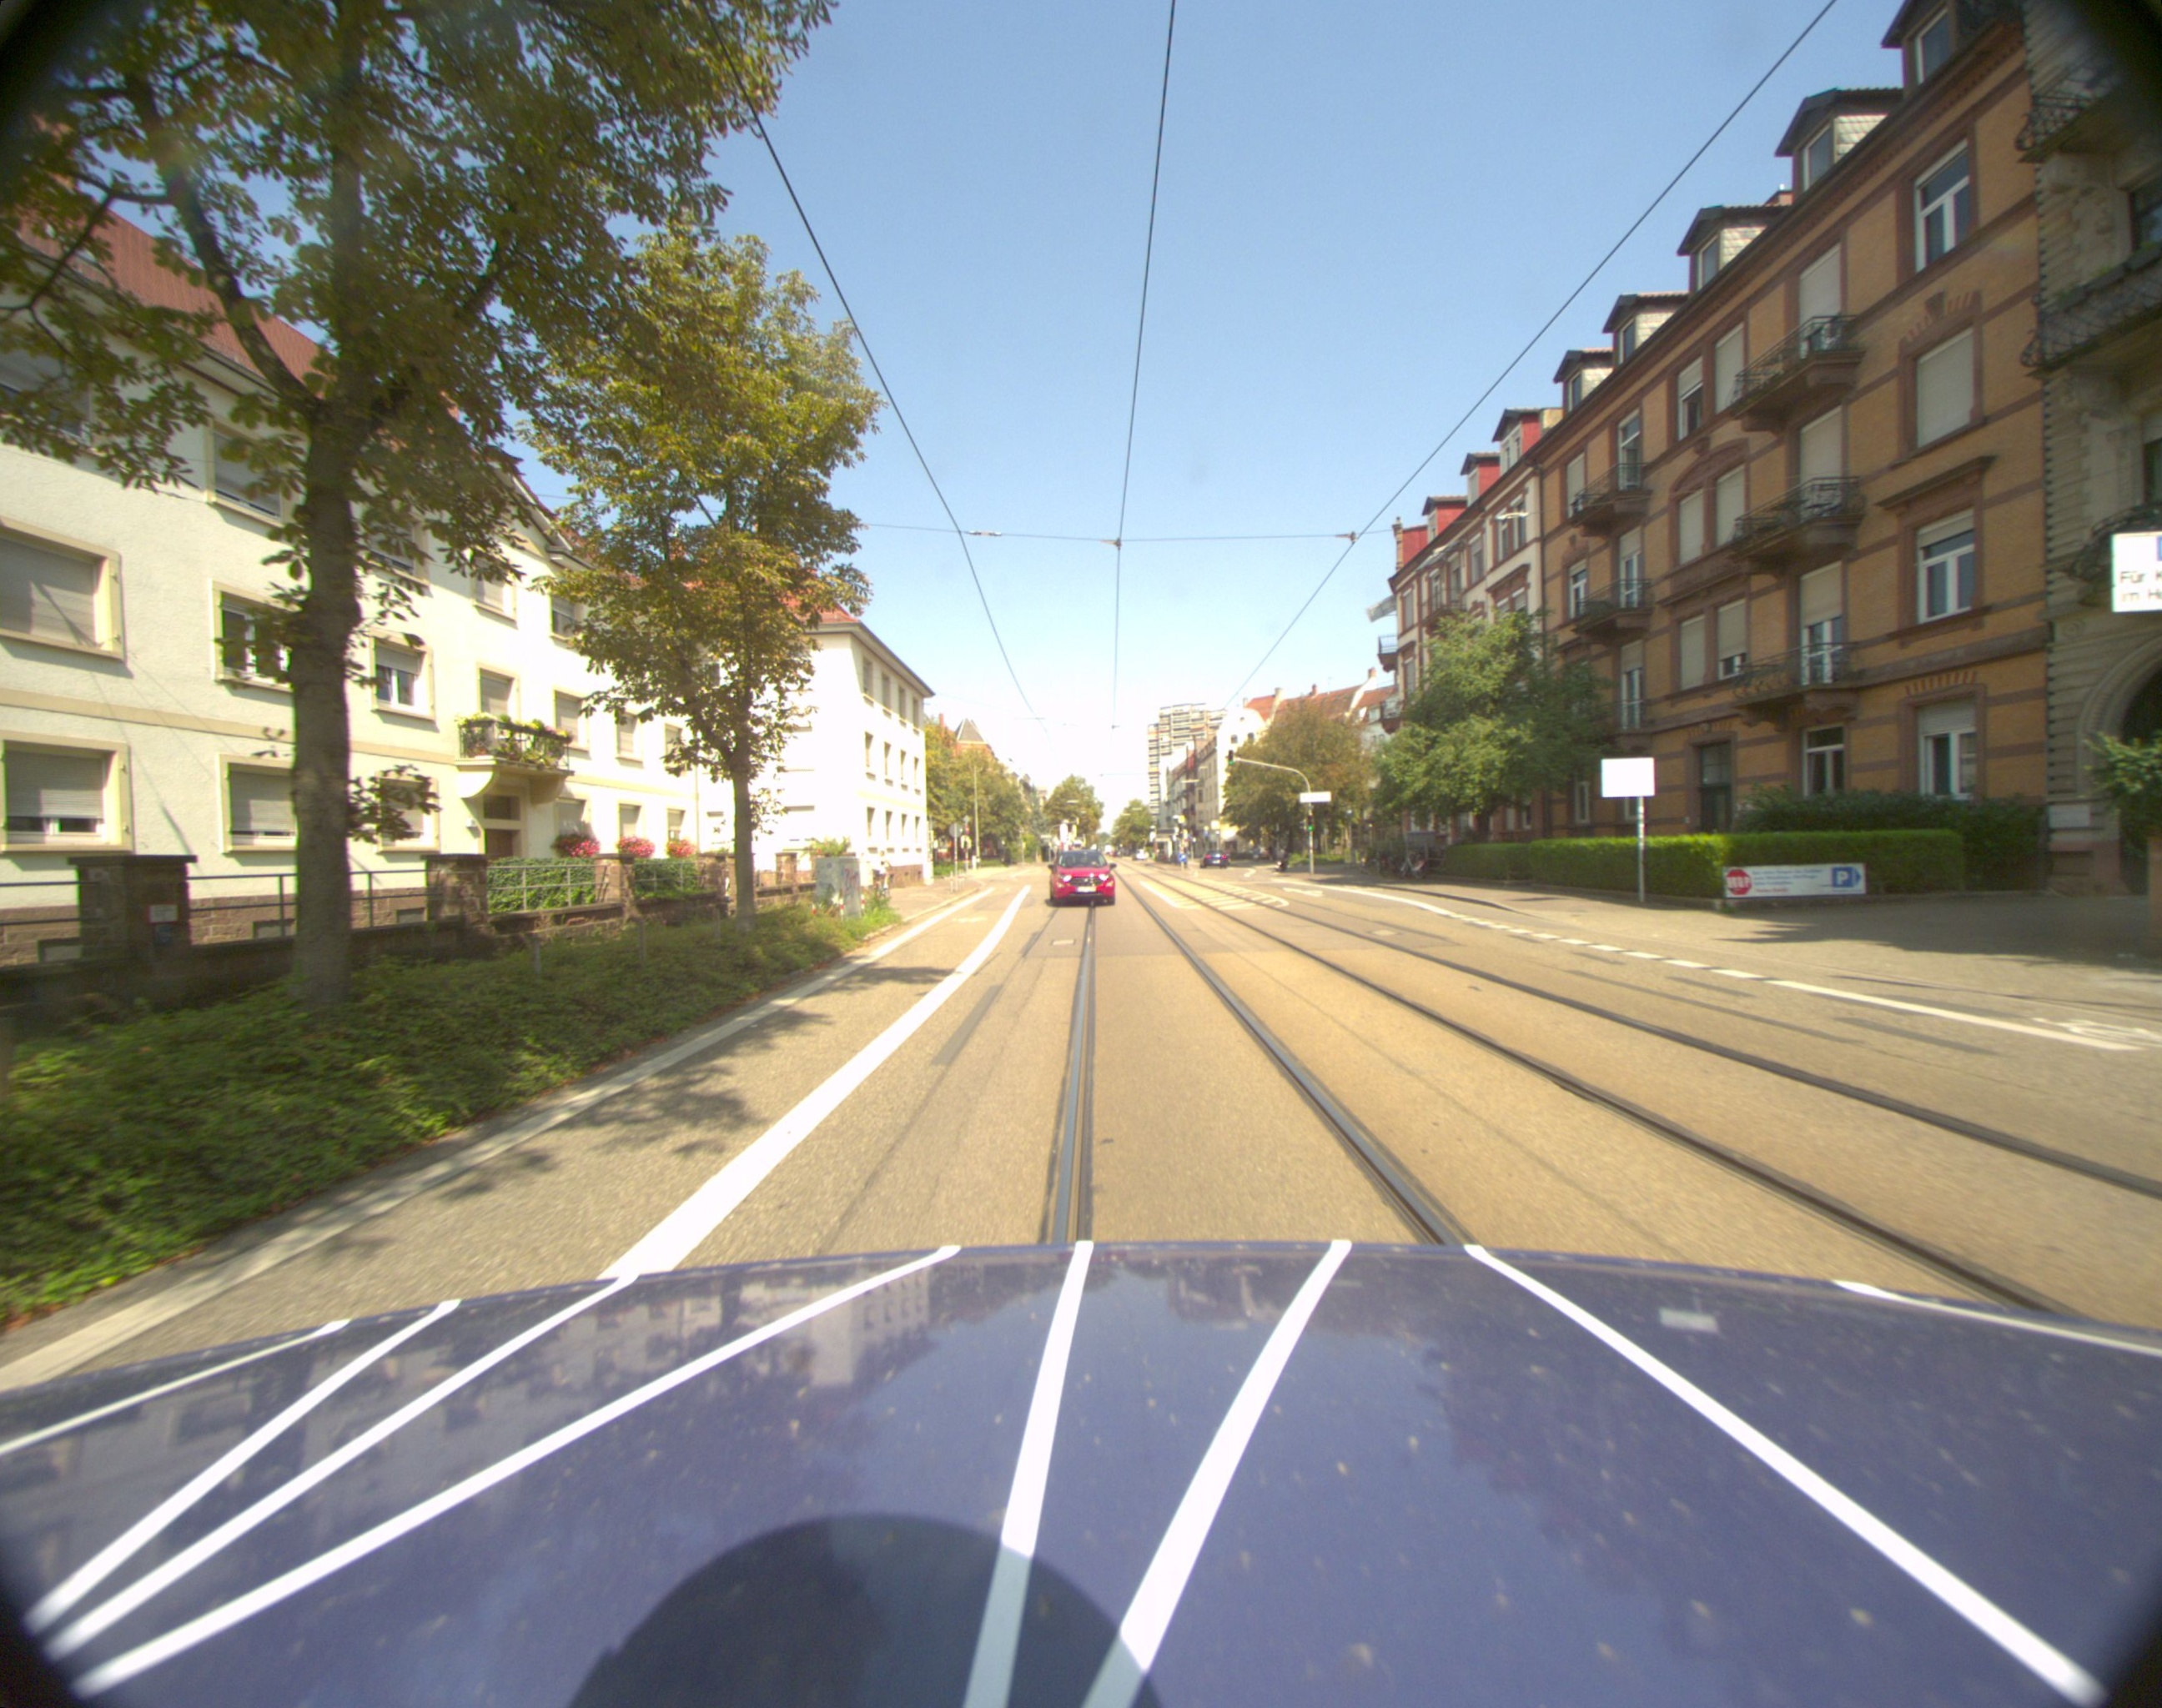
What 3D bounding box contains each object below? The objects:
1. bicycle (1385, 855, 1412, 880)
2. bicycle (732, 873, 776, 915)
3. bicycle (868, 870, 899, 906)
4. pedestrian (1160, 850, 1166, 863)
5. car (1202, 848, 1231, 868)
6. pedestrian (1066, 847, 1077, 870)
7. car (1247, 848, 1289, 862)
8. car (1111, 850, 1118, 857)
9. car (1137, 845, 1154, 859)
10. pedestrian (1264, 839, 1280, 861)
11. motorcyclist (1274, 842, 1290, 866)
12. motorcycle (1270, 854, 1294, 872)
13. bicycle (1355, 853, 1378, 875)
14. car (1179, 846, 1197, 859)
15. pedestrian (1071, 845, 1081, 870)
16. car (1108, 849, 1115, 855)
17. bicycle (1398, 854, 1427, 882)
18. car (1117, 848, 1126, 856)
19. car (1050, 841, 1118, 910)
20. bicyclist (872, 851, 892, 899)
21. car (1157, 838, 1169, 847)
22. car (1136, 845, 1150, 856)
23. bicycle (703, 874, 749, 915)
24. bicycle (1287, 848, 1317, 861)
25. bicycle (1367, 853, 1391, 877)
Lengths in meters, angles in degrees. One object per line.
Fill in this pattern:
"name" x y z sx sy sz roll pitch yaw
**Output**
"bicycle" 12.796 0.539 30.619 0.488 0.936 1.657 -2 0 4
"bicycle" -9.058 1.086 21.102 0.441 1.041 1.828 -2 1 -2
"bicycle" -6.369 1.087 24.564 0.441 1.041 1.829 -2 1 1
"pedestrian" 7.949 0.198 73.566 0.479 1.243 0.648 -2 1 2
"car" 10.366 0.297 58.456 1.731 1.425 4.177 -2 1 4
"pedestrian" -0.754 0.385 63.096 0.674 1.874 0.923 -2 1 12
"car" 22.938 0.144 93.088 2.004 1.716 4.617 -1 1 -45
"car" 9.005 -0.141 204.595 1.998 1.716 4.631 -1 0 2
"car" 8.263 -0.226 97.437 1.998 1.716 4.631 -1 0 2
"pedestrian" 17.824 -0.355 70.914 1.094 2.002 1.036 -3 1 1
"motorcyclist" 12.489 -0.006 47.133 0.690 1.503 0.774 -1 1 36
"motorcycle" 12.494 0.566 47.120 0.692 1.025 2.161 -1 1 36
"bicycle" 14.122 0.482 37.545 0.487 0.991 1.833 -1 1 39
"car" 14.744 -0.180 104.900 1.998 1.716 4.631 -1 0 2
"pedestrian" -0.383 0.270 56.883 0.675 1.874 0.922 -2 1 -4
"car" 9.210 -0.719 230.394 1.998 1.716 4.631 -1 0 2
"bicycle" 12.589 0.518 28.906 0.488 0.980 1.657 -2 0 4
"car" 9.182 -0.407 172.590 1.998 1.716 4.631 -1 0 2
"car" 0.041 0.616 22.684 1.803 1.801 4.416 1 -1 -1
"bicyclist" -6.387 0.670 24.387 0.438 1.503 0.472 -2 1 1
"car" 16.227 -2.225 150.192 1.998 1.716 4.631 -1 0 2
"car" 9.620 -0.507 117.911 1.998 1.716 4.632 -1 0 3
"bicycle" -9.927 1.105 21.282 0.441 1.041 1.828 -2 1 -2
"bicycle" 24.779 0.069 85.368 1.224 1.428 3.478 -2 0 -24
"bicycle" 13.122 0.477 33.495 0.488 1.016 1.778 -2 0 4
